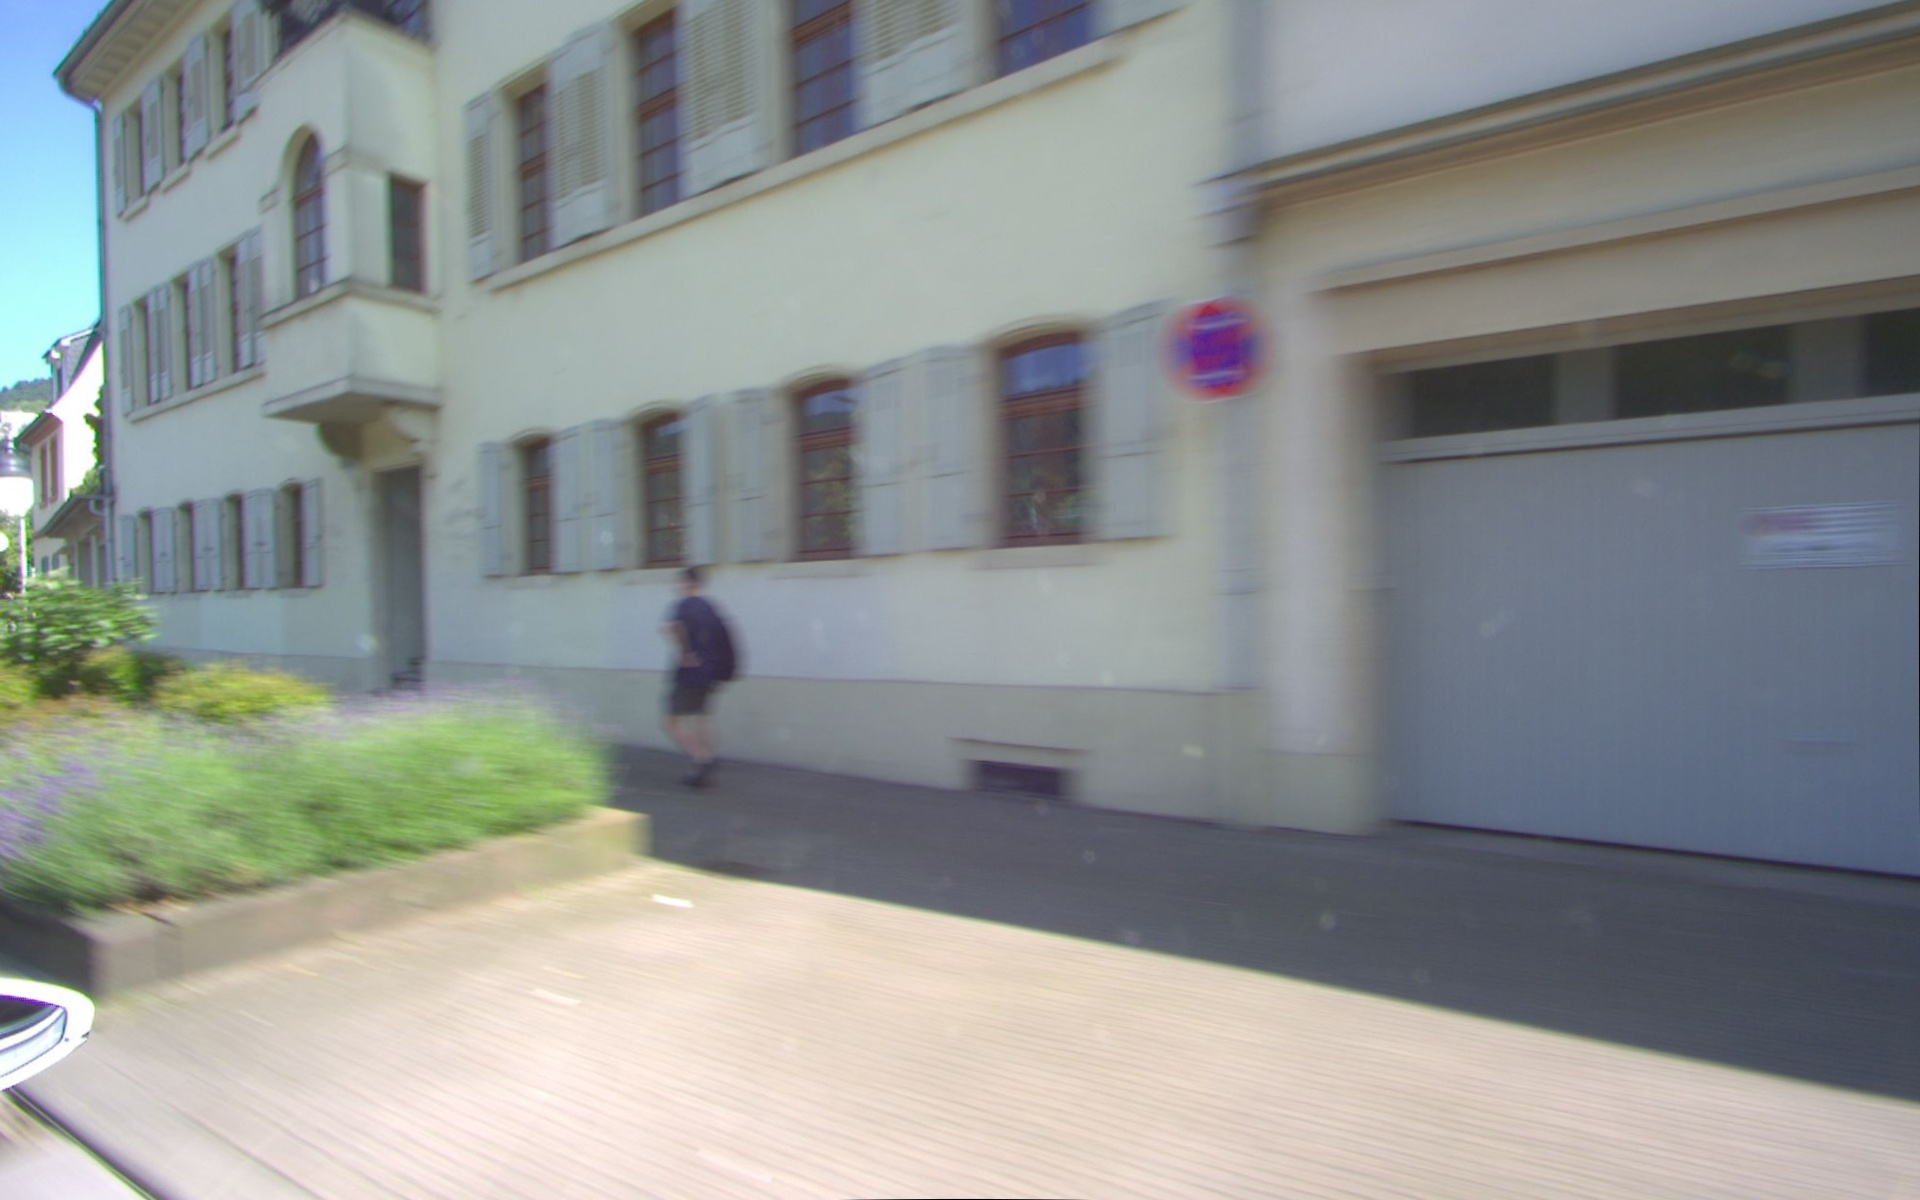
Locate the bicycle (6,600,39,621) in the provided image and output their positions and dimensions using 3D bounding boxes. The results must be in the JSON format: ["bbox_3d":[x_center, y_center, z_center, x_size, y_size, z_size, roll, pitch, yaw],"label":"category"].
[{"bbox_3d":[-45.318,0.519,48.409,1.757,0.977,0.748,-1,1,33],"label":"bicycle"}]

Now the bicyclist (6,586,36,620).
[{"bbox_3d":[-45.502,0.156,48.512,1.074,1.605,0.764,0,2,33],"label":"bicyclist"}]

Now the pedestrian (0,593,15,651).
[{"bbox_3d":[-27.433,0.628,28.423,0.687,1.617,0.758,1,2,39],"label":"pedestrian"}]

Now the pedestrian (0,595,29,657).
[{"bbox_3d":[-27.353,0.739,28.743,0.922,1.722,0.734,1,3,39],"label":"pedestrian"}]

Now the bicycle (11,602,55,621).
[{"bbox_3d":[-58.803,0.727,63.544,1.977,1.214,0.518,1,1,-32],"label":"bicycle"}]

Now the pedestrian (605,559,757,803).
[{"bbox_3d":[-2.136,0.580,7.720,0.686,1.738,0.759,0,5,34],"label":"pedestrian"}]
